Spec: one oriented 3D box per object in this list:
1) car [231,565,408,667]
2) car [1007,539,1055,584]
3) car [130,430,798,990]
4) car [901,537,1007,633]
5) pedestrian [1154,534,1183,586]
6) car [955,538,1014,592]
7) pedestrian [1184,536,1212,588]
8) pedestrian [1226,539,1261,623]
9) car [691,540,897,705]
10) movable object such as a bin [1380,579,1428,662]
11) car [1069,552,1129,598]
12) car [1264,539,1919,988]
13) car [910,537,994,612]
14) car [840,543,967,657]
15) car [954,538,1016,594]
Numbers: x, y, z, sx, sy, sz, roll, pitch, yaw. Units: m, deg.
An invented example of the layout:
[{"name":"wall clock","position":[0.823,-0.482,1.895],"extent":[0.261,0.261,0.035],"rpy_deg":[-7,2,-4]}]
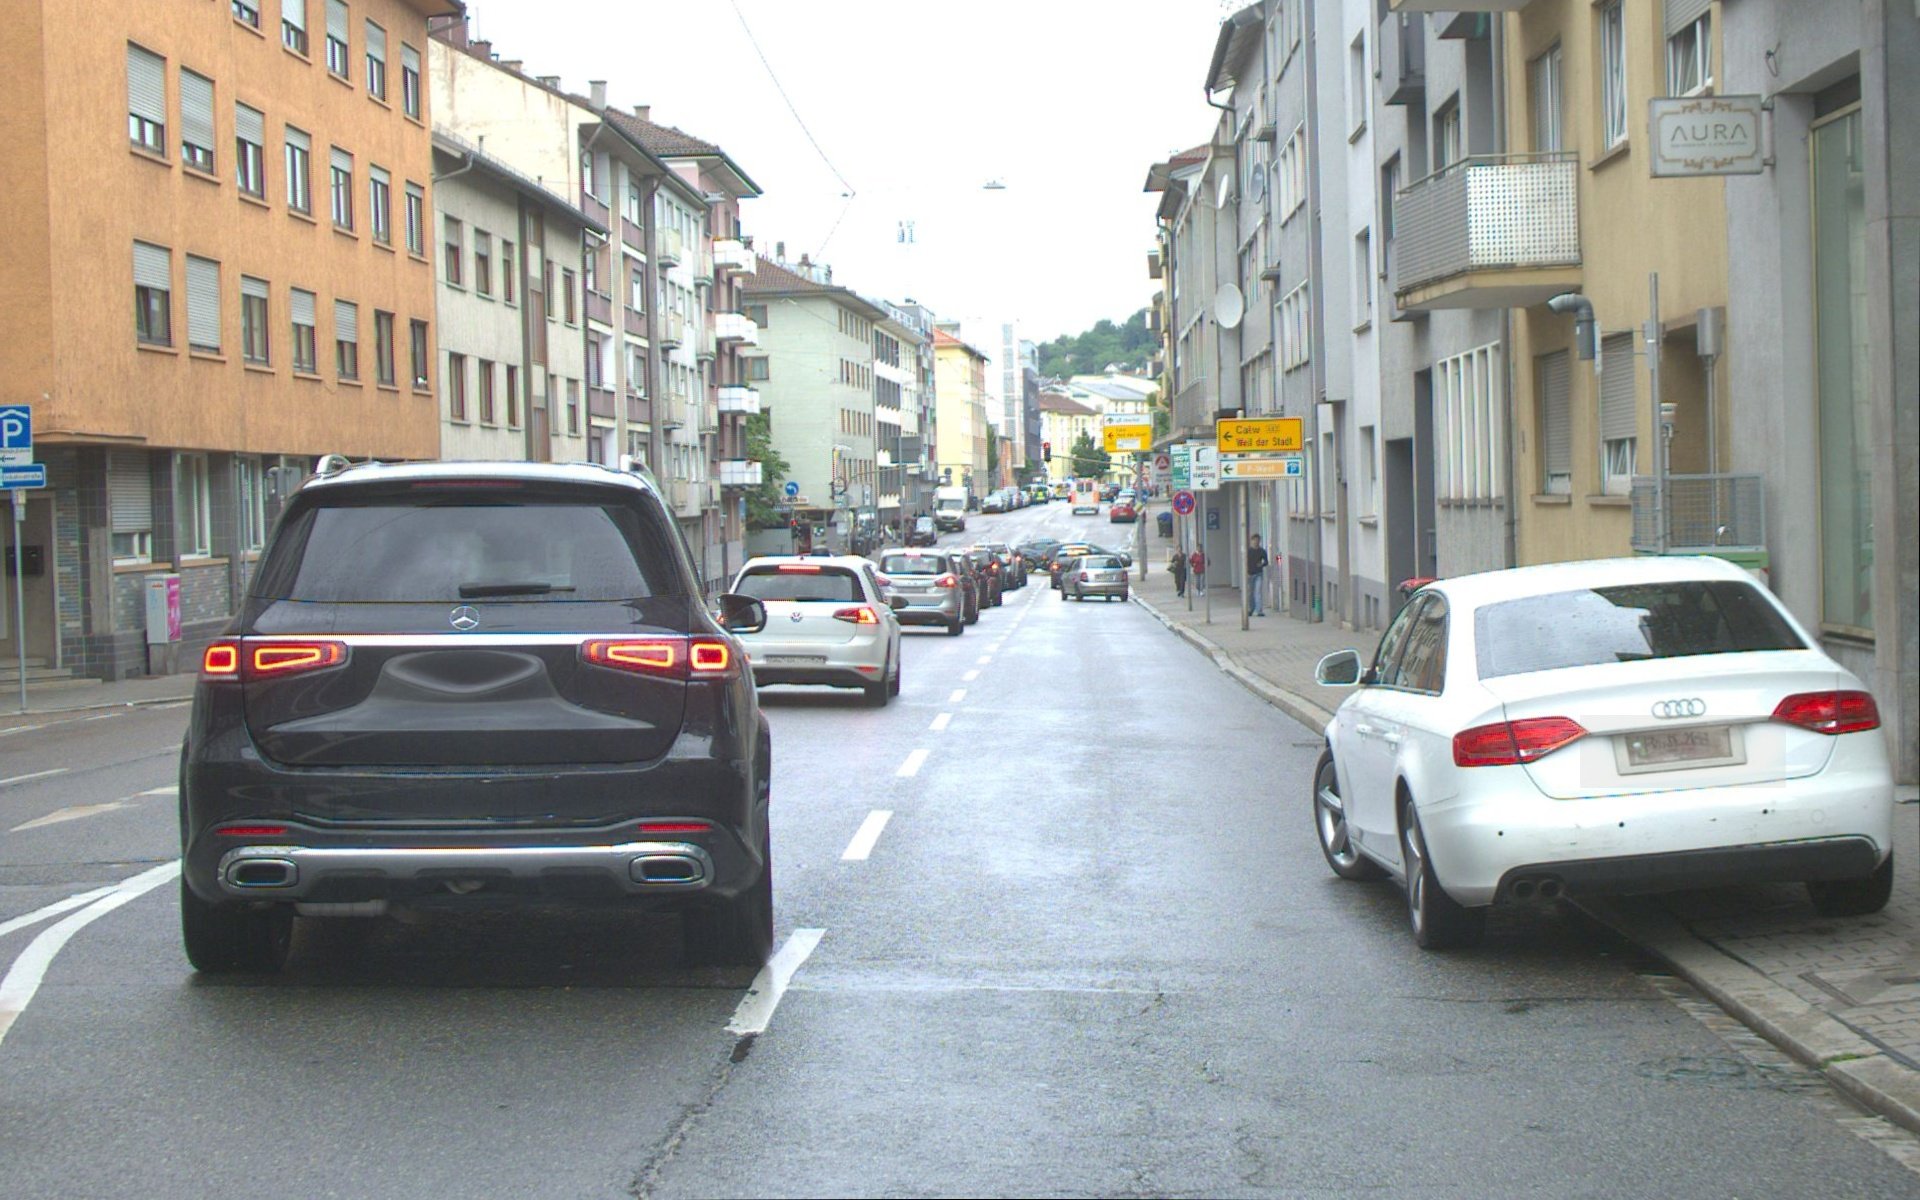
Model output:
[{"name":"car","position":[-9.912,0.214,53.530],"extent":[1.891,1.453,4.549],"rpy_deg":[1,1,0]},{"name":"car","position":[3.298,-1.801,159.637],"extent":[1.994,2.007,4.000],"rpy_deg":[1,1,4]},{"name":"car","position":[-1.882,0.306,13.228],"extent":[2.075,1.759,4.612],"rpy_deg":[1,1,-8]},{"name":"car","position":[-0.102,-0.353,74.978],"extent":[1.994,2.007,4.000],"rpy_deg":[1,1,4]},{"name":"pedestrian","position":[6.282,-1.207,103.647],"extent":[0.821,1.560,0.899],"rpy_deg":[1,1,5]},{"name":"car","position":[0.971,-1.378,132.774],"extent":[1.994,2.007,4.000],"rpy_deg":[1,1,4]},{"name":"pedestrian","position":[7.171,-1.141,103.586],"extent":[0.821,1.560,0.899],"rpy_deg":[1,1,5]},{"name":"pedestrian","position":[5.974,-0.402,72.396],"extent":[0.655,1.746,0.741],"rpy_deg":[-2,0,7]},{"name":"car","position":[-1.631,0.180,35.074],"extent":[1.893,1.505,4.174],"rpy_deg":[2,1,-1]},{"name":"movable object such as a bin","position":[5.320,0.240,41.199],"extent":[0.473,0.959,0.564],"rpy_deg":[-3,1,3]},{"name":"car","position":[4.383,-0.809,109.040],"extent":[1.734,1.383,4.583],"rpy_deg":[1,1,1]},{"name":"car","position":[2.495,0.528,14.278],"extent":[1.893,1.398,4.609],"rpy_deg":[-5,1,-1]},{"name":"car","position":[-0.198,-0.723,95.581],"extent":[1.994,2.007,4.000],"rpy_deg":[1,1,4]},{"name":"car","position":[-1.013,-0.039,63.779],"extent":[1.994,2.007,4.000],"rpy_deg":[1,1,4]},{"name":"car","position":[0.945,-1.272,127.402],"extent":[1.994,2.007,4.000],"rpy_deg":[1,1,4]}]
